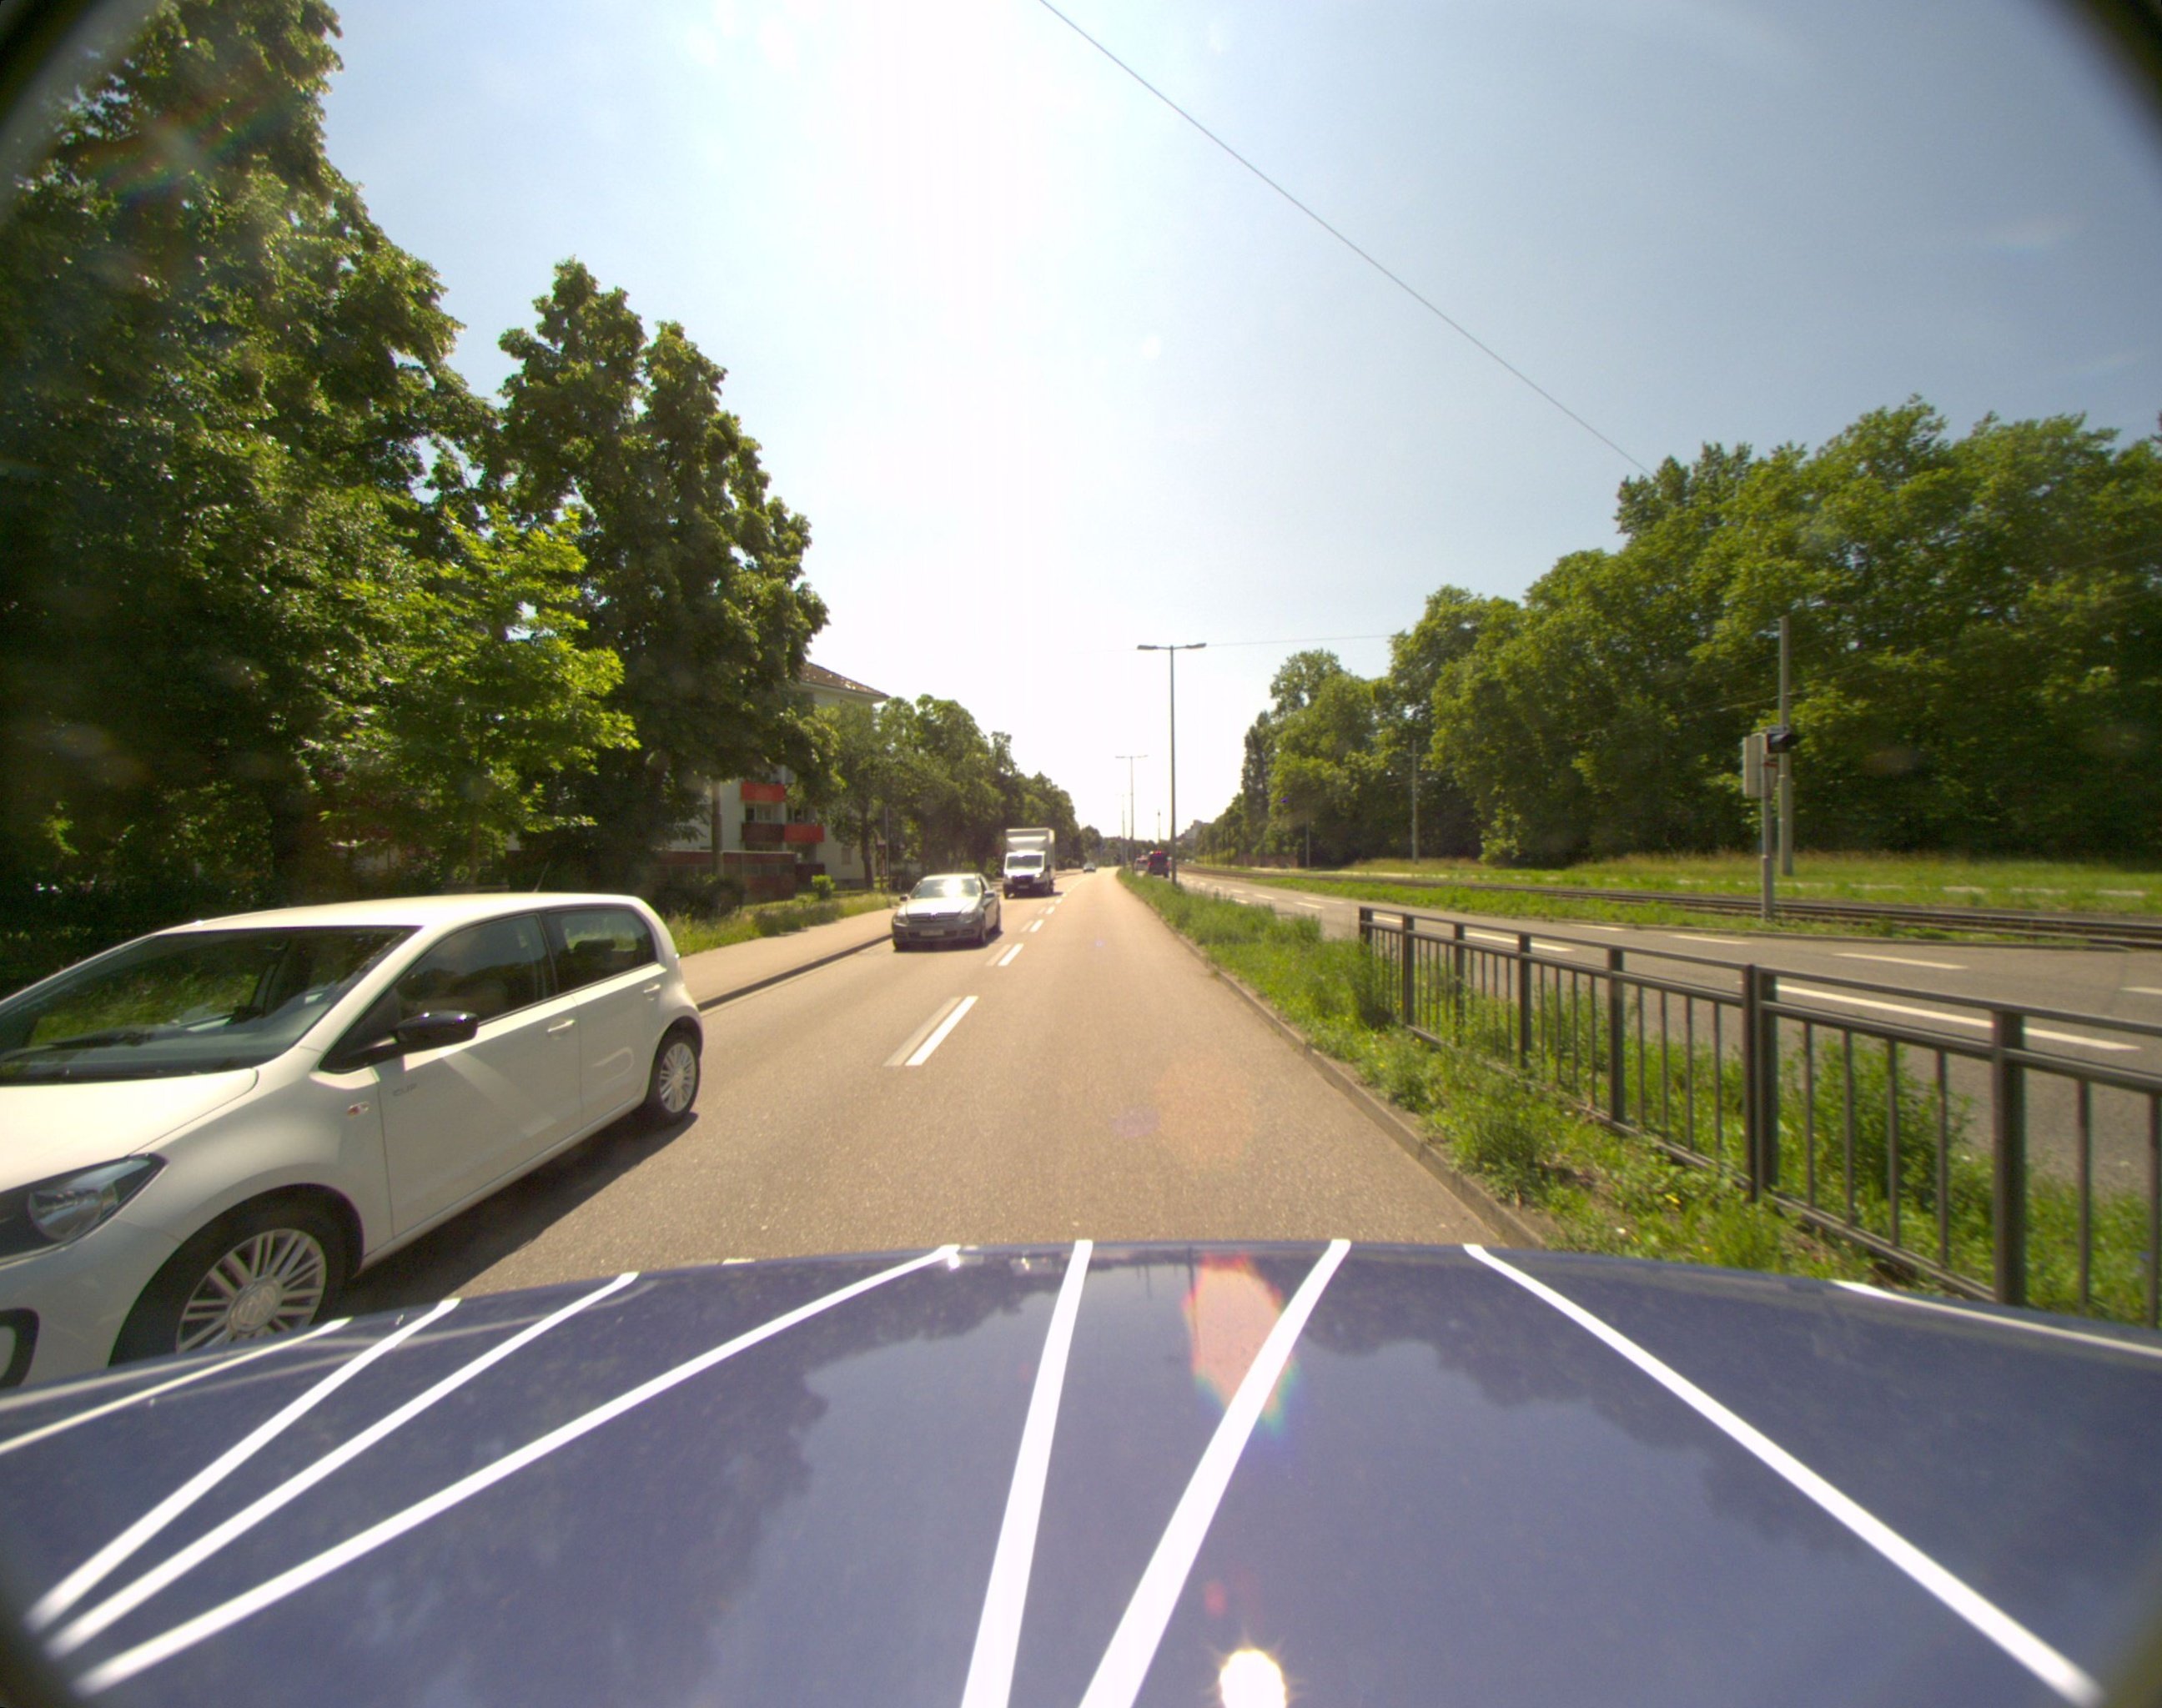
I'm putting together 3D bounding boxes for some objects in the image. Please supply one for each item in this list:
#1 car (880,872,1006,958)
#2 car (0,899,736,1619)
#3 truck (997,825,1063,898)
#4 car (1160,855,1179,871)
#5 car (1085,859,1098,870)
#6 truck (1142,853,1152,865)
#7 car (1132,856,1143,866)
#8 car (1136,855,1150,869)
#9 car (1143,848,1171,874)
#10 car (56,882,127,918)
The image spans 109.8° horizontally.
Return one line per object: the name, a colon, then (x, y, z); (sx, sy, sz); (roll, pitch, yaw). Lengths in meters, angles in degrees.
car: (-2.769, 1.191, 16.137); (1.903, 1.451, 3.971); (-3, 0, -1)
car: (-3.330, 1.072, 3.488); (1.663, 1.441, 3.854); (-2, 0, 0)
truck: (-2.411, 0.328, 38.576); (2.294, 3.259, 8.313); (-2, 0, 3)
car: (11.872, 1.215, 102.136); (1.998, 2.001, 5.030); (0, -1, 0)
car: (1.584, 1.555, 116.269); (1.829, 1.556, 4.000); (-2, 0, 1)
truck: (15.127, 1.102, 174.567); (2.086, 2.732, 5.549); (0, 0, 4)
car: (9.693, 1.196, 130.314); (1.833, 1.728, 4.040); (0, 0, 6)
car: (8.548, 1.140, 105.491); (1.834, 1.895, 5.567); (0, 0, 3)
car: (7.007, 0.658, 70.494); (1.998, 2.352, 5.373); (0, 0, 0)
car: (-52.877, 2.410, 40.669); (3.915, 1.714, 1.880); (-2, 0, 43)
